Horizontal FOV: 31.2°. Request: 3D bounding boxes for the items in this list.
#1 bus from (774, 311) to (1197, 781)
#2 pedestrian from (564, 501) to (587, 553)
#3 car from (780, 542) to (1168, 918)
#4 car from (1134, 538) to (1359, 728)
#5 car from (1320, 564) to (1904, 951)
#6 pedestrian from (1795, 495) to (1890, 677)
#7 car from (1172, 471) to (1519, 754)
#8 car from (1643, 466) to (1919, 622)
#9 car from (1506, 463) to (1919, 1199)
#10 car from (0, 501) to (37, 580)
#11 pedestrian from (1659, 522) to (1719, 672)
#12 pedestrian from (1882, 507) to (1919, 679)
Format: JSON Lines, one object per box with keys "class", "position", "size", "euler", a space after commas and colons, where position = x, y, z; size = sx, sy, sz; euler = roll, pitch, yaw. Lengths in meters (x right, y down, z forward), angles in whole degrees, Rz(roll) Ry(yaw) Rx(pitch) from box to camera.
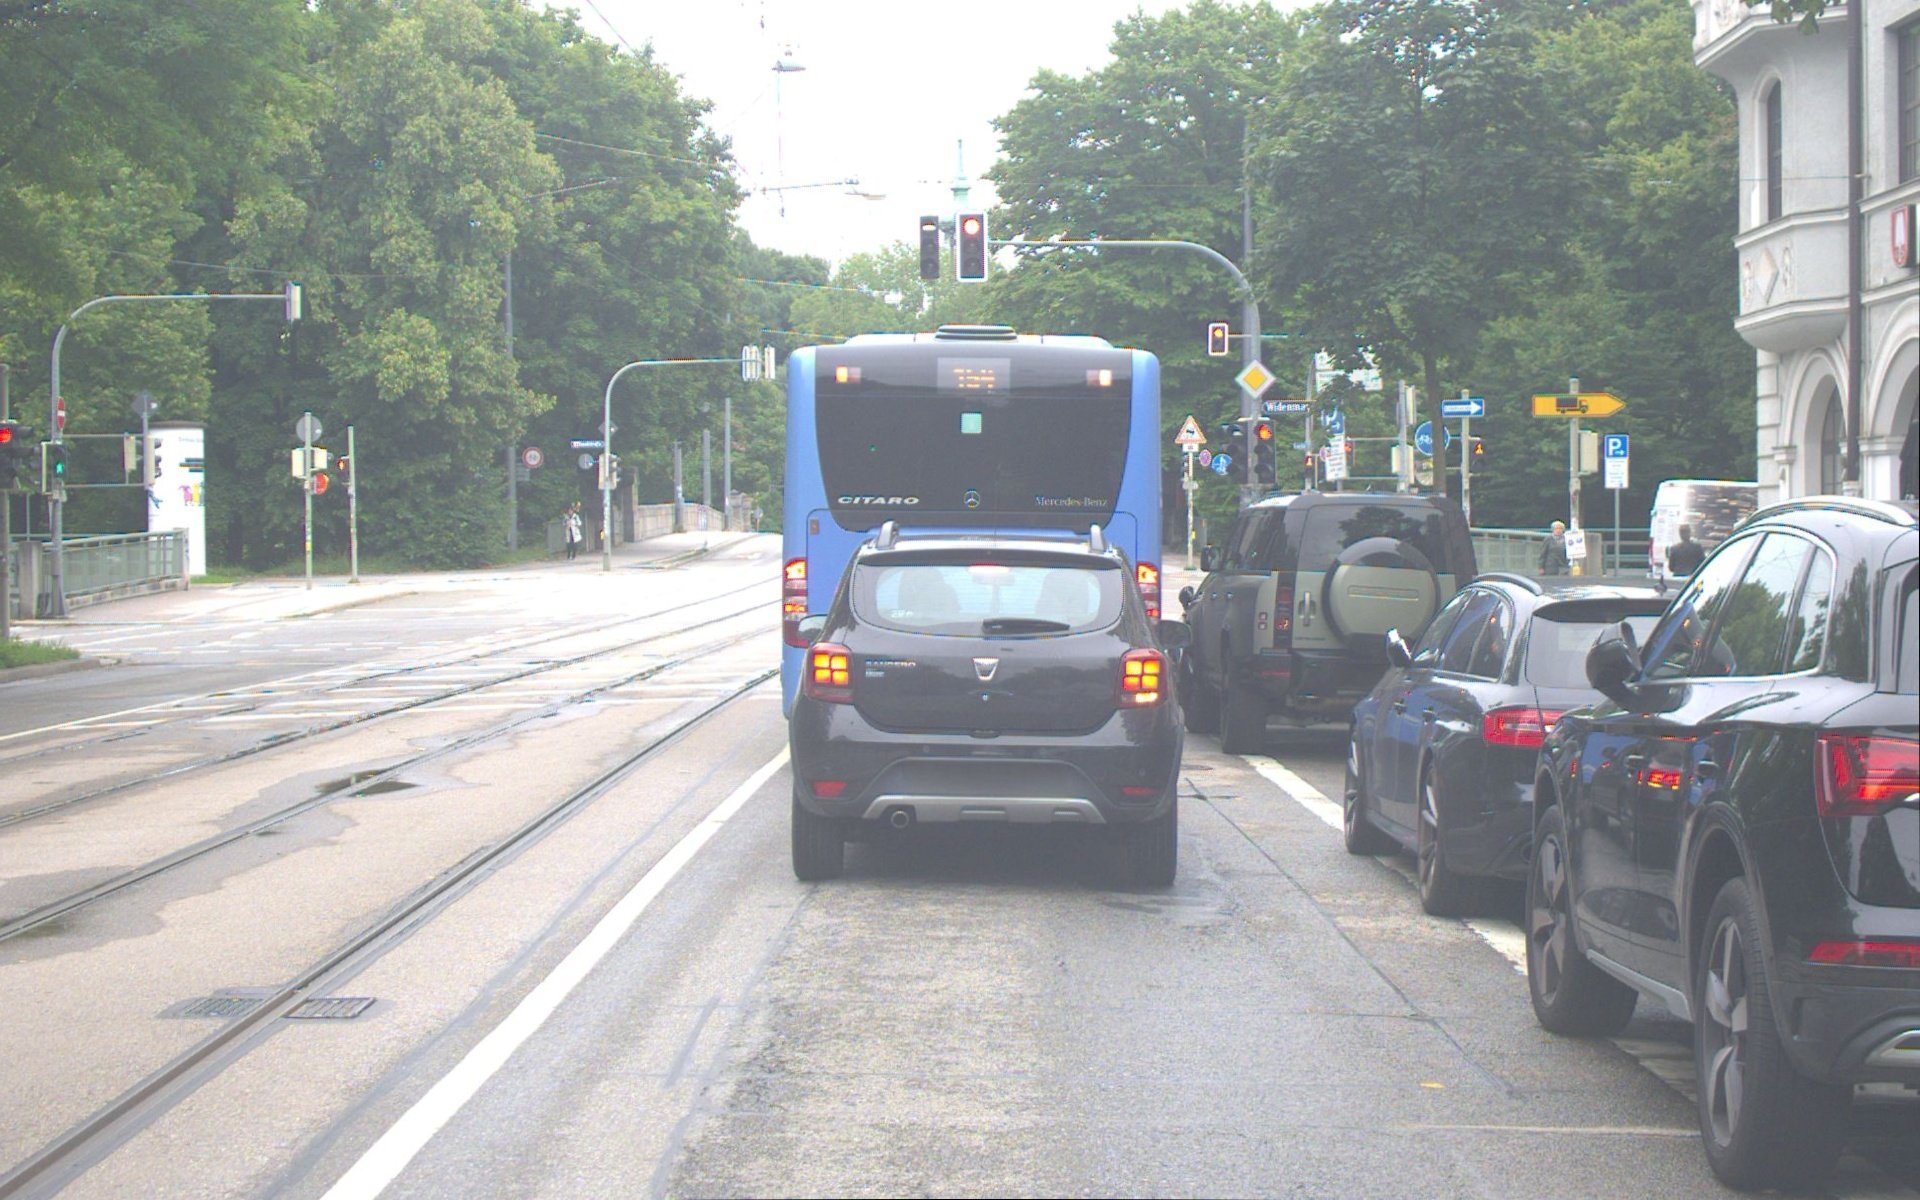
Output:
{"class": "bus", "position": [0.089, -0.399, 25.836], "size": [2.678, 2.987, 6.961], "euler": [1, 1, -1]}
{"class": "pedestrian", "position": [-11.245, -2.131, 100.620], "size": [0.532, 1.496, 0.588], "euler": [2, 1, 5]}
{"class": "car", "position": [0.058, 0.525, 16.310], "size": [1.601, 1.551, 3.525], "euler": [1, 1, 0]}
{"class": "car", "position": [2.569, 0.252, 31.648], "size": [1.714, 1.586, 4.327], "euler": [1, 1, 1]}
{"class": "car", "position": [2.736, 0.580, 15.462], "size": [1.716, 1.421, 4.602], "euler": [1, 1, 0]}
{"class": "pedestrian", "position": [8.973, -0.150, 34.973], "size": [0.705, 1.810, 0.870], "euler": [1, 1, 1]}
{"class": "car", "position": [2.802, 0.050, 26.056], "size": [1.914, 1.899, 4.808], "euler": [1, 1, -2]}
{"class": "car", "position": [14.997, -0.970, 60.807], "size": [5.295, 2.603, 2.231], "euler": [1, 1, -2]}
{"class": "car", "position": [2.697, 0.531, 9.296], "size": [1.774, 1.652, 4.487], "euler": [1, 1, 1]}
{"class": "car", "position": [-24.583, -1.492, 83.397], "size": [4.021, 1.880, 1.491], "euler": [1, 1, -6]}
{"class": "pedestrian", "position": [9.895, -0.049, 46.687], "size": [0.673, 2.007, 0.716], "euler": [2, 1, 6]}
{"class": "pedestrian", "position": [9.870, -0.067, 34.980], "size": [0.705, 1.726, 0.843], "euler": [1, 1, 1]}
